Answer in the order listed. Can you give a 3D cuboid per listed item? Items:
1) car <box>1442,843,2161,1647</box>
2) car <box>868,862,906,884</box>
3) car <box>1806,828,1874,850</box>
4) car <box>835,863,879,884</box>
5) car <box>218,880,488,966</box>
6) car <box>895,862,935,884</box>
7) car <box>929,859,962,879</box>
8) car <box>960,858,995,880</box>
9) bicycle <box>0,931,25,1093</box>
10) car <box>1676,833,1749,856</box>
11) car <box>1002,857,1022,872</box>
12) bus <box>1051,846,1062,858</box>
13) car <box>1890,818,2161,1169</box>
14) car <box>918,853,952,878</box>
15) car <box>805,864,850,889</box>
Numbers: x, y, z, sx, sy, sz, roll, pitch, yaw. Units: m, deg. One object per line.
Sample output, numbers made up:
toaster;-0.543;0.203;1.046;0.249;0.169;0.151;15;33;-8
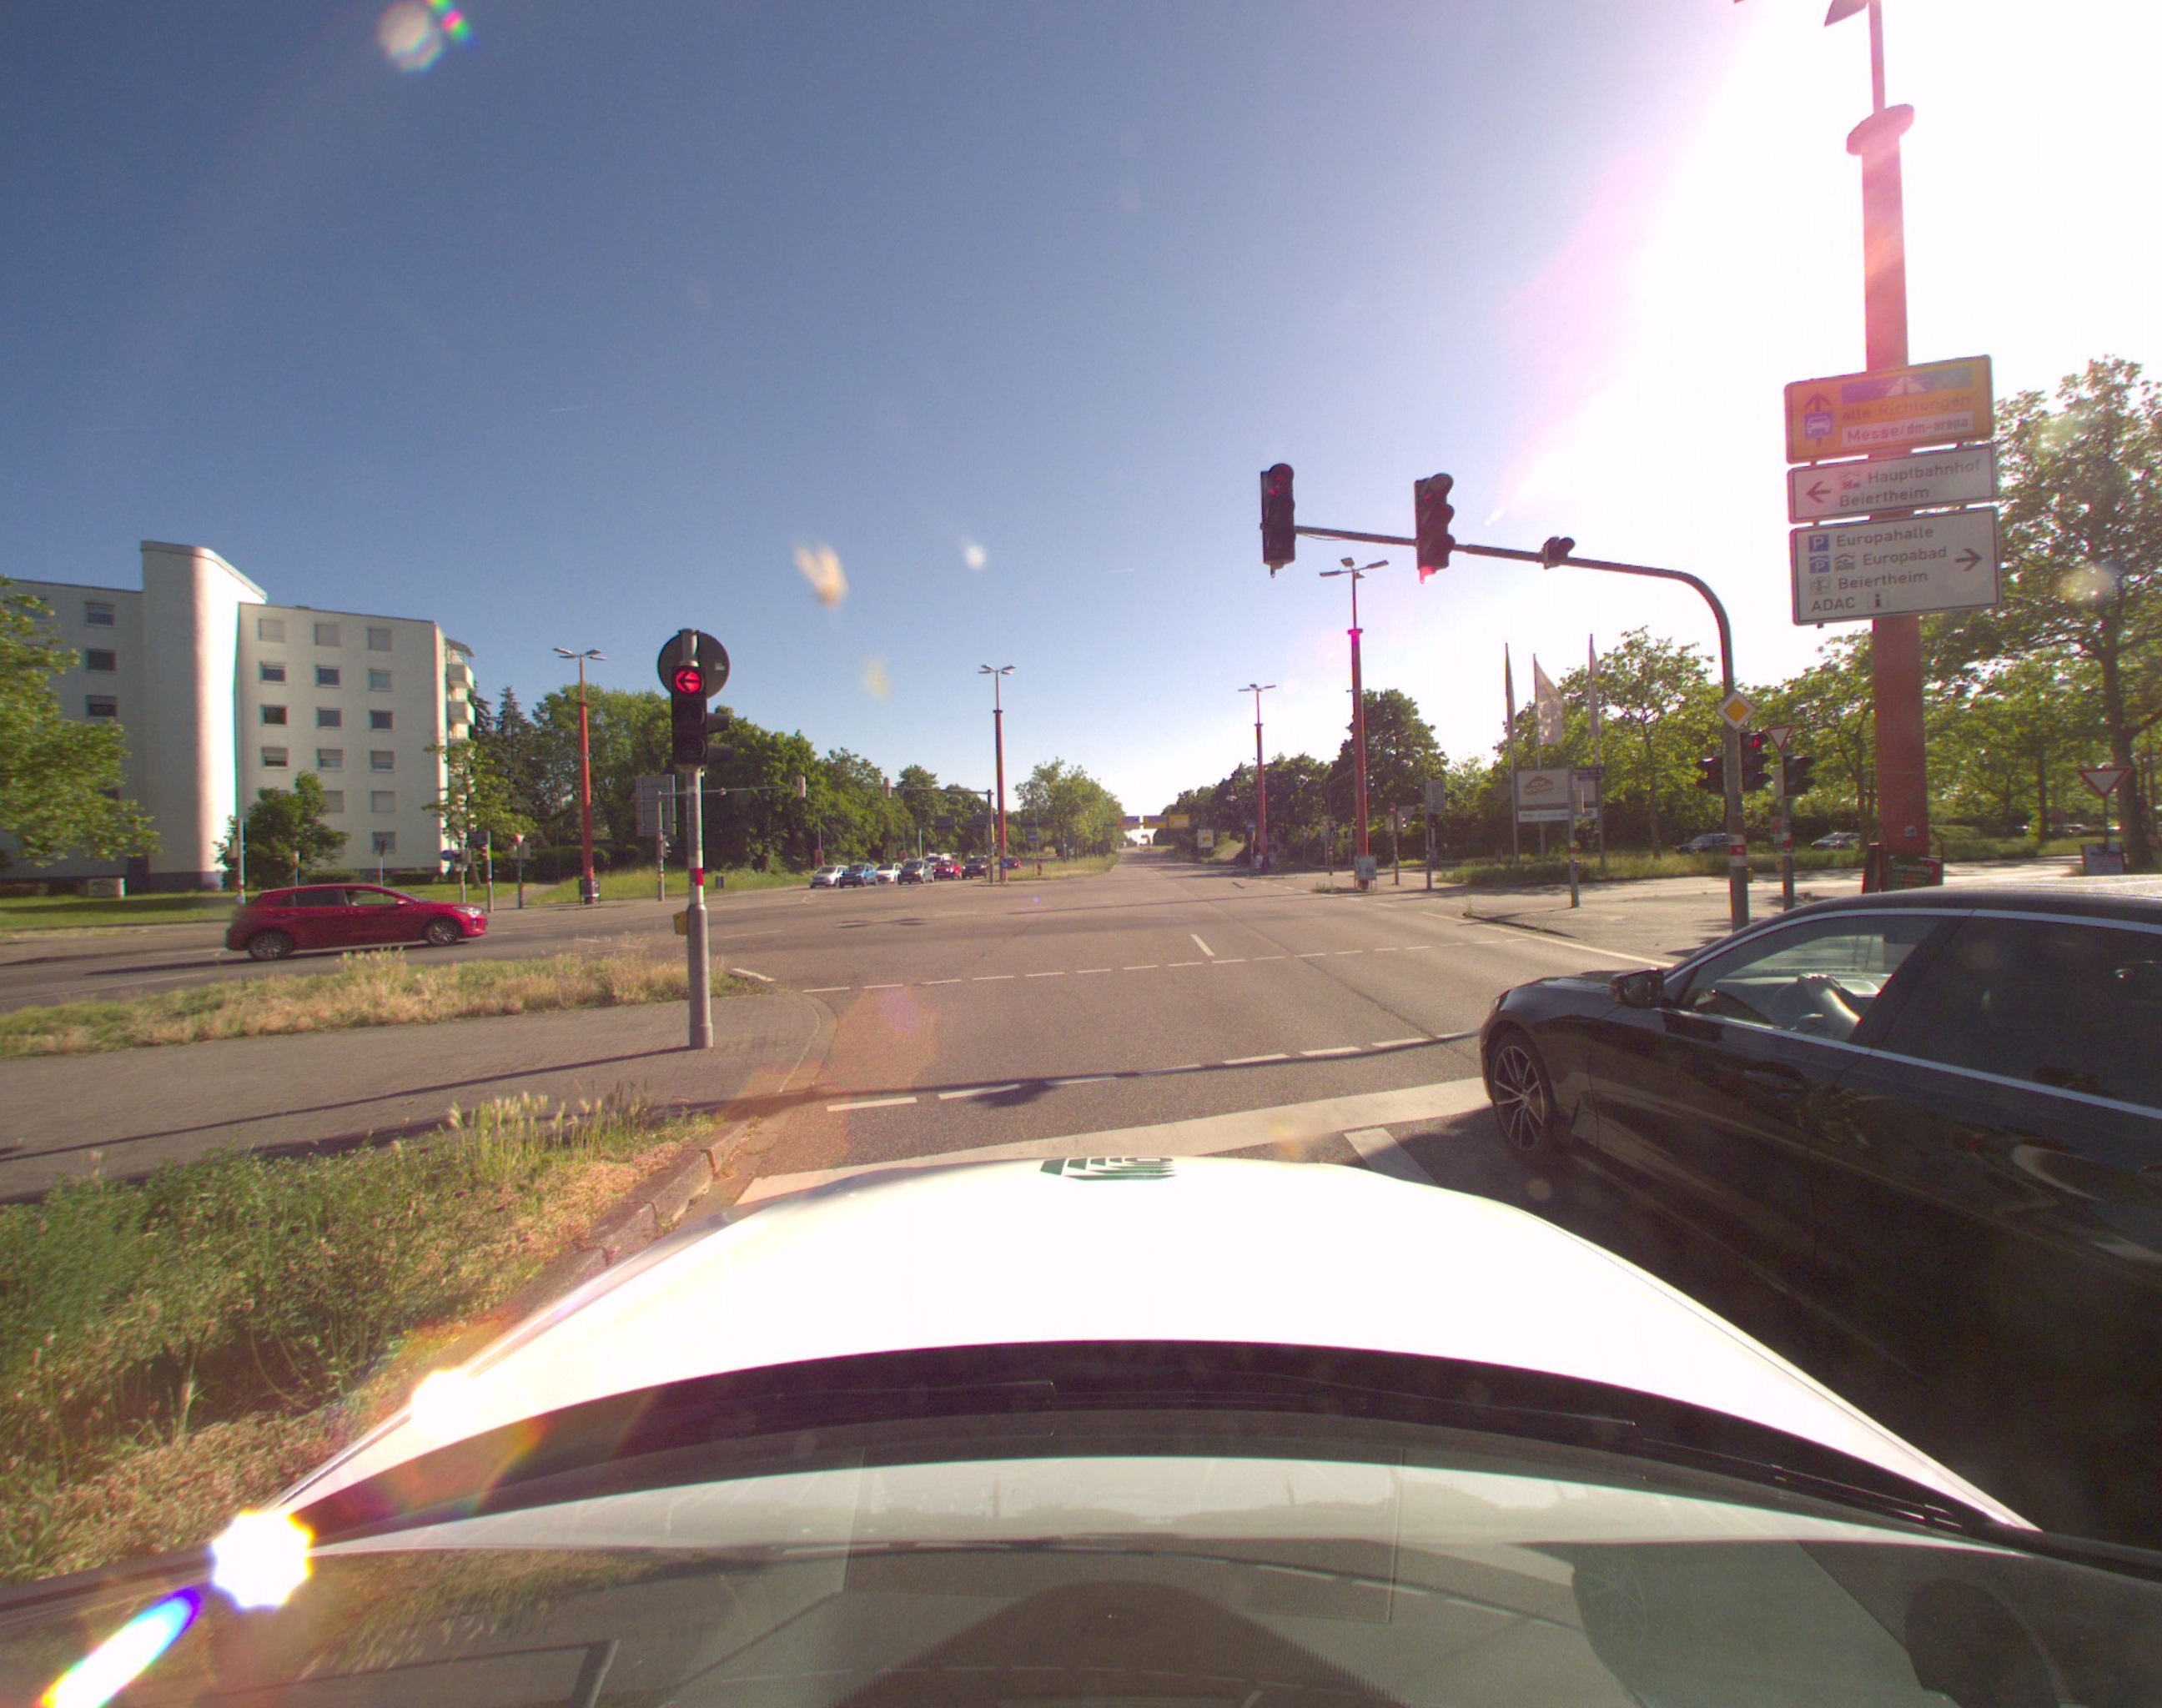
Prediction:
car;2.887;0.688;2.372;1.862;1.398;4.446;-2;0;3
car;-13.676;1.315;57.525;1.733;1.411;3.613;-2;0;1
car;55.501;-1.115;59.560;3.987;1.467;1.676;-2;0;-14
car;-14.092;1.208;51.416;1.733;1.243;3.613;-2;0;1
car;-15.155;1.353;17.236;4.086;1.435;1.666;-2;0;-40
car;-10.608;1.185;52.303;1.733;1.243;3.613;-2;0;1
car;-9.892;1.085;59.656;1.733;1.362;3.613;-2;0;1
car;-7.395;1.043;58.451;1.812;1.508;4.002;-2;0;2
bicycle;-8.942;1.216;5.583;1.952;1.195;0.686;-2;0;-26
car;43.713;-0.652;56.401;4.324;1.485;1.775;-2;0;-16
car;-8.090;1.216;95.150;1.812;1.629;4.002;-2;0;2
bus;-7.254;-0.609;243.519;2.482;3.238;10.004;-2;0;2
car;5.668;0.601;2.859;1.732;1.578;4.032;-2;0;3
car;-12.680;0.970;71.111;1.886;2.026;5.224;-1;0;1
car;-17.341;1.534;55.900;1.754;1.532;3.936;-2;0;1
